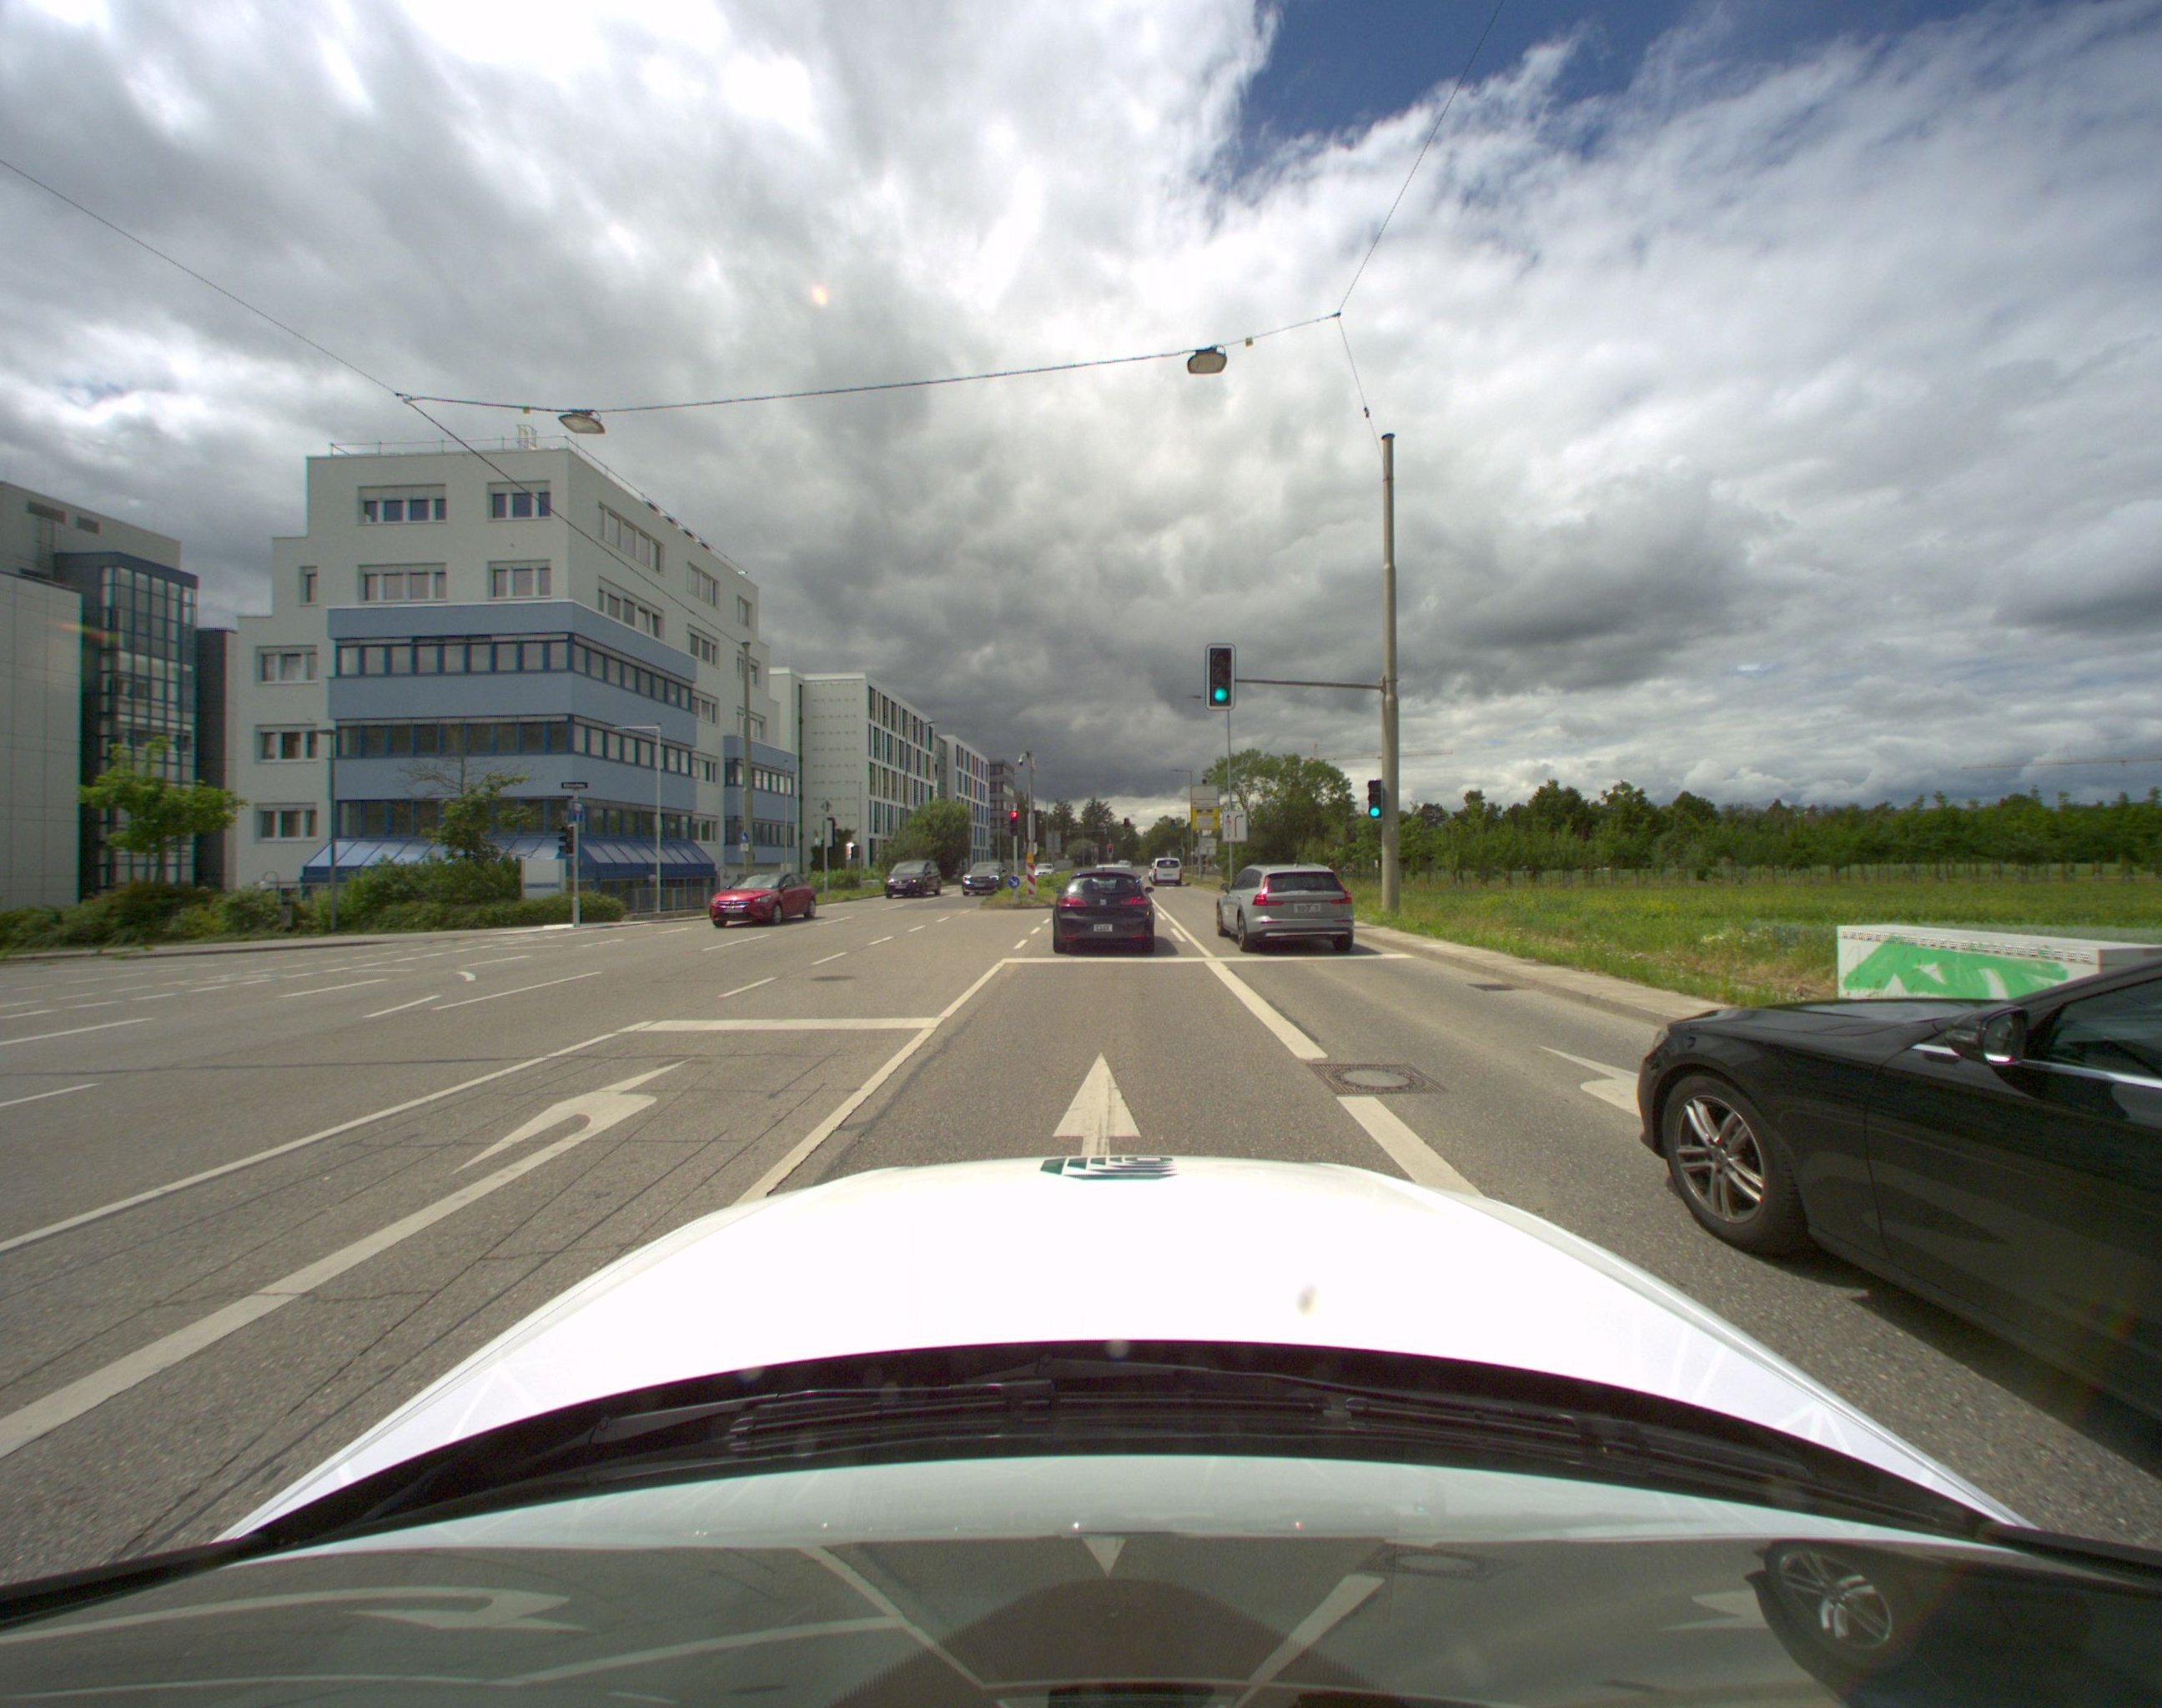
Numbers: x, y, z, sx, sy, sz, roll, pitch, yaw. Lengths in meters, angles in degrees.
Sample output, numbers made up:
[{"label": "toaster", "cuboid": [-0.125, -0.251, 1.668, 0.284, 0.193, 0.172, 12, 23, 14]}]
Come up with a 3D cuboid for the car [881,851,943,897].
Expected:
[{"label": "car", "cuboid": [-7.889, 0.934, 38.471, 1.987, 2.014, 4.479, -1, -1, -1]}]

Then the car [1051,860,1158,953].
[{"label": "car", "cuboid": [0.564, 0.884, 15.151, 1.739, 1.484, 4.005, 0, -1, 5]}]

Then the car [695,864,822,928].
[{"label": "car", "cuboid": [-8.949, 1.119, 22.983, 1.768, 1.612, 4.003, -1, -1, 3]}]

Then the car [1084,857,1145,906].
[{"label": "car", "cuboid": [1.155, 0.948, 28.768, 1.976, 1.590, 4.226, -1, -1, 1]}]

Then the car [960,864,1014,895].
[{"label": "car", "cuboid": [-4.513, 1.207, 39.542, 1.986, 1.409, 4.001, -1, -1, 2]}]

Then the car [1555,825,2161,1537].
[{"label": "car", "cuboid": [3.270, 0.710, 1.747, 1.831, 1.538, 4.808, -1, 1, 2]}]

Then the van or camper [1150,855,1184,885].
[{"label": "van or camper", "cuboid": [5.739, 1.069, 54.942, 1.892, 1.926, 4.000, -1, -1, 1]}]

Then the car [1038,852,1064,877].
[{"label": "car", "cuboid": [-2.572, 0.914, 70.761, 1.986, 2.014, 4.001, -1, -1, 2]}]

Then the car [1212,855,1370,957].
[{"label": "car", "cuboid": [3.652, 0.861, 14.992, 1.950, 1.525, 4.343, -3, -1, 3]}]
